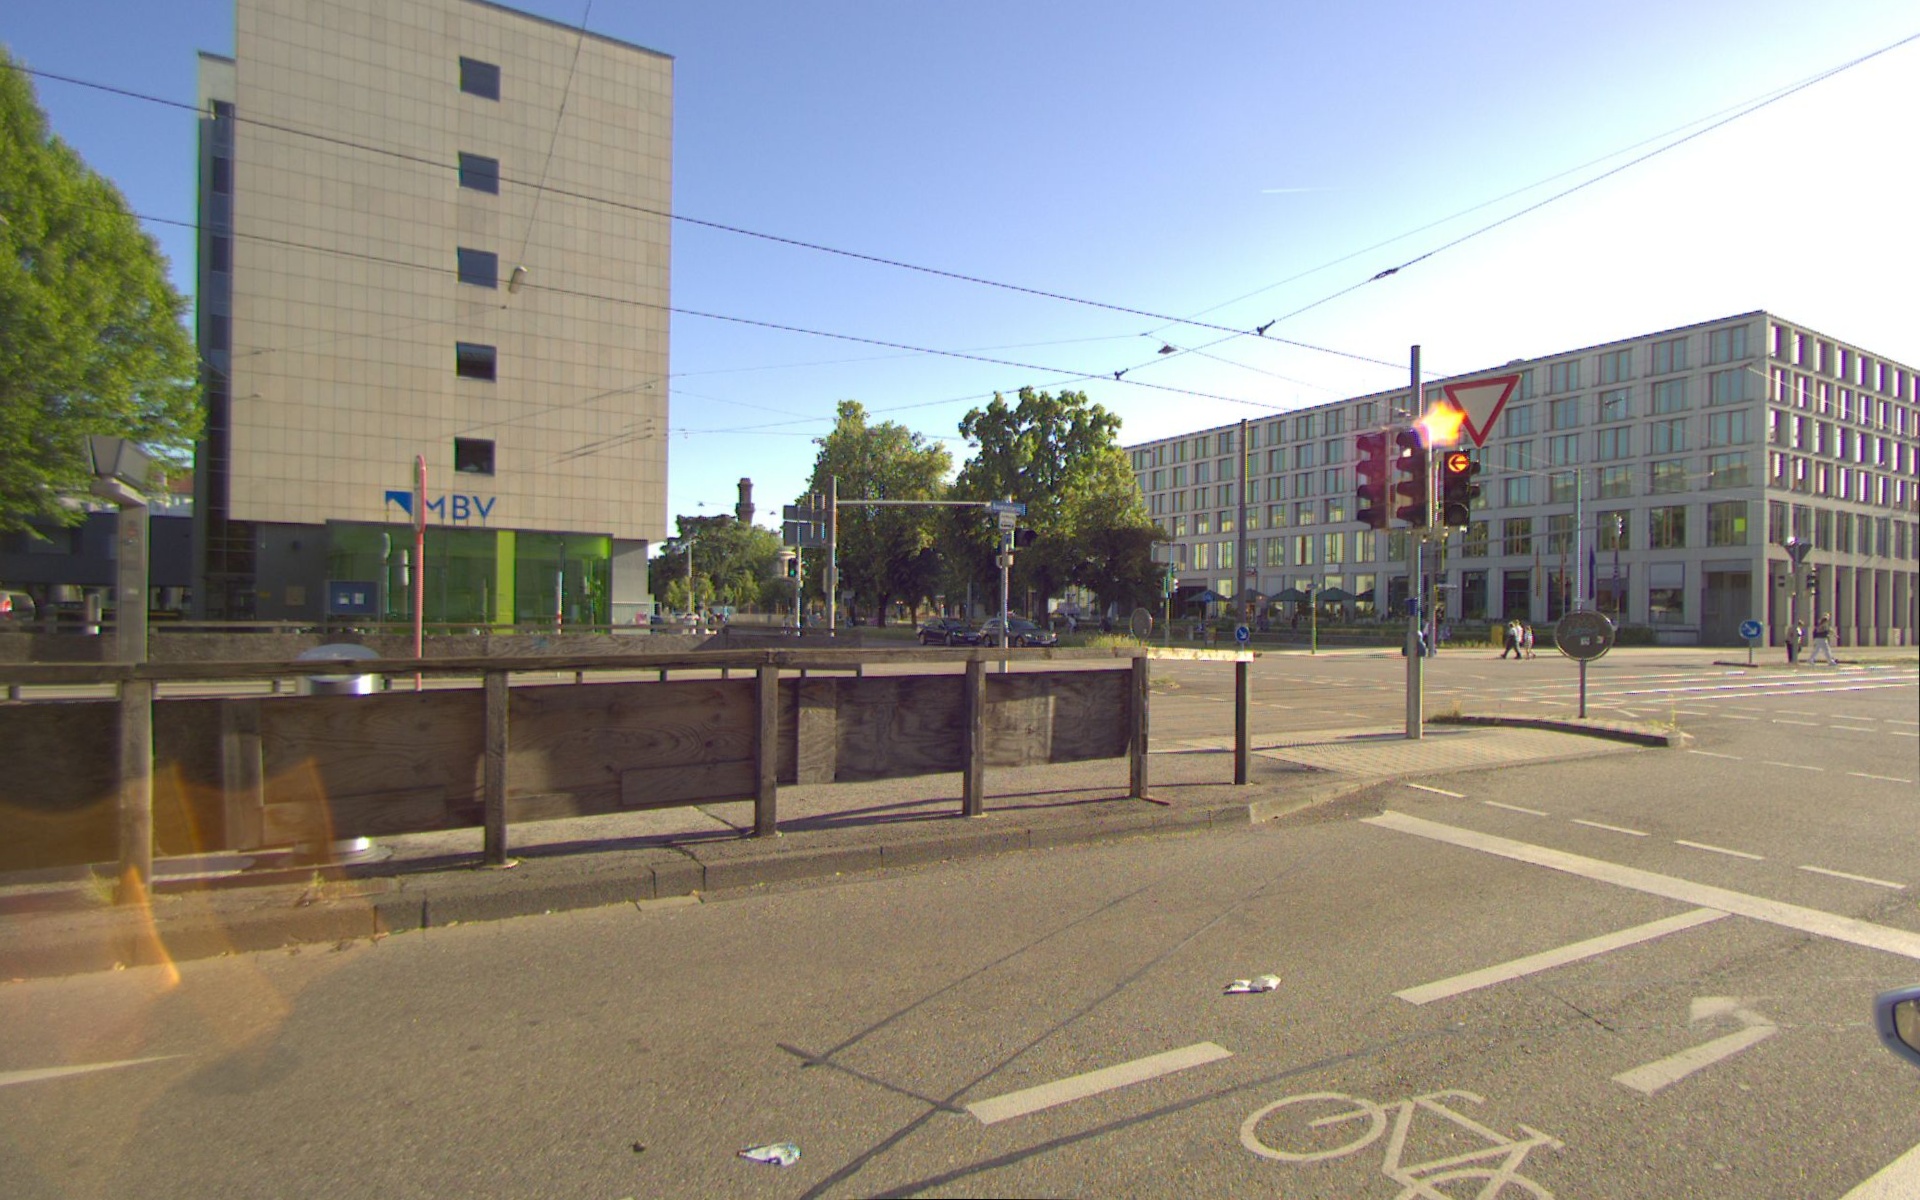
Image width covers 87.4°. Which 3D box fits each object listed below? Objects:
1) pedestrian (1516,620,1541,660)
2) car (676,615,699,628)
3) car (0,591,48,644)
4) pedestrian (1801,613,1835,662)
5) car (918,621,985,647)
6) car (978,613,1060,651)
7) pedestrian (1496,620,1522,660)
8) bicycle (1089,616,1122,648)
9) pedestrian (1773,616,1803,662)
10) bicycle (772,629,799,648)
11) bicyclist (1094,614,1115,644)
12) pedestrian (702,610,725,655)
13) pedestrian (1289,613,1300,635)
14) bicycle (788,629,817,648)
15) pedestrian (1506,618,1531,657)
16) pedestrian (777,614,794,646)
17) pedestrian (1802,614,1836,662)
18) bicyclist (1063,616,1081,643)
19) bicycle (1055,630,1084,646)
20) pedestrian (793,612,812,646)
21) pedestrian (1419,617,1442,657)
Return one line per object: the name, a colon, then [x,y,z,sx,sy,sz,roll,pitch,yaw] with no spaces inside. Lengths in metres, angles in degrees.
pedestrian: [26.150,1.823,46.183,0.525,1.827,0.867,1,-1,-24]
car: [-33.477,2.625,123.432,1.614,1.452,4.021,3,-2,-31]
car: [-27.754,0.448,27.768,3.371,1.431,1.562,2,0,-20]
pedestrian: [31.699,1.375,37.126,0.668,1.784,0.746,2,-2,-25]
car: [-0.498,1.789,53.364,1.755,1.311,4.209,1,-1,-30]
car: [2.754,1.501,47.838,1.829,1.602,4.496,1,1,-28]
pedestrian: [25.359,1.830,46.407,0.654,1.827,0.868,1,-1,-24]
bicycle: [8.176,1.766,56.397,0.592,1.758,1.880,1,-1,-41]
pedestrian: [30.677,1.430,37.212,0.614,1.666,0.691,1,-1,-29]
bicycle: [-9.443,2.088,54.295,0.669,0.973,2.131,1,-1,-32]
bicyclist: [8.124,1.617,56.462,0.592,1.662,1.065,1,-1,-41]
pedestrian: [-9.578,1.253,39.004,0.814,1.739,0.757,1,-1,-18]
pedestrian: [25.873,1.832,77.763,0.556,1.691,0.537,2,0,-33]
bicycle: [-8.616,2.112,54.852,0.818,0.973,2.132,1,-1,-31]
pedestrian: [26.309,1.769,47.328,0.706,1.827,0.737,1,-1,-24]
pedestrian: [-9.463,1.614,54.350,0.666,1.739,0.754,1,-1,-32]
pedestrian: [30.110,1.316,35.214,0.615,1.666,0.787,1,-1,-34]
bicyclist: [6.610,1.728,59.445,0.569,1.581,0.969,1,-1,-33]
bicycle: [6.487,2.245,59.627,0.568,0.945,2.052,1,-1,-33]
pedestrian: [-8.603,1.595,54.854,0.818,1.829,0.754,1,-1,-31]
pedestrian: [23.143,1.823,49.417,0.628,1.943,0.800,1,-1,-24]
